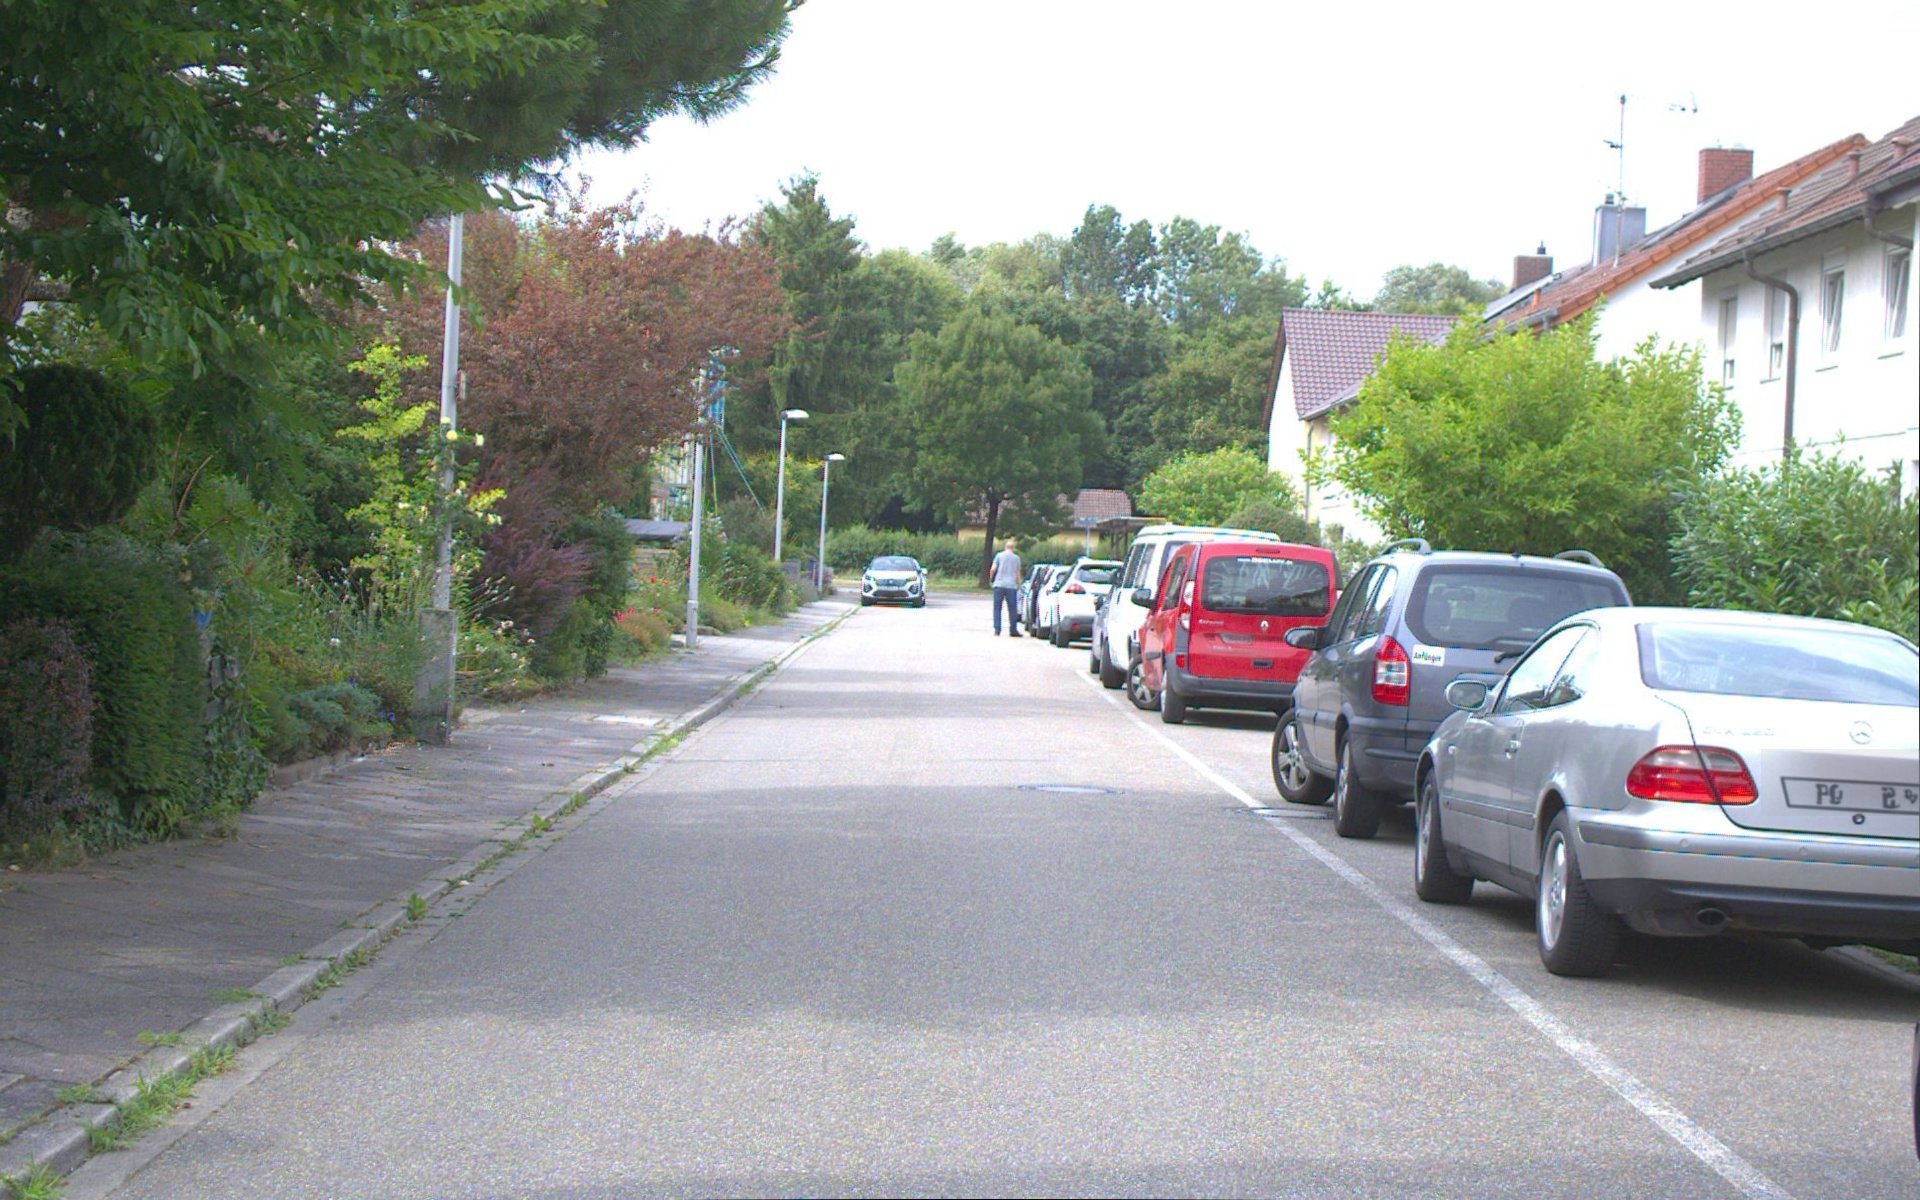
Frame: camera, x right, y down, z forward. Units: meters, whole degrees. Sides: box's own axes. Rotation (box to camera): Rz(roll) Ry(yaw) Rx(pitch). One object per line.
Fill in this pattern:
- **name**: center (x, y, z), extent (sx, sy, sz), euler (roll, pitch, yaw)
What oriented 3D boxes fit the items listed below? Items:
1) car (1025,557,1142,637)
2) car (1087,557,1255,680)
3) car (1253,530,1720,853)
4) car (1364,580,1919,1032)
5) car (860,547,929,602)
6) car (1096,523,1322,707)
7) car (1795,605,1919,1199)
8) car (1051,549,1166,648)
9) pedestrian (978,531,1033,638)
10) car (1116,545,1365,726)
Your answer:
- **car**: center (2.369, -0.086, 66.898), extent (1.838, 1.408, 4.637), euler (2, 1, -3)
- **car**: center (2.698, 0.209, 44.798), extent (1.900, 1.454, 4.129), euler (2, 1, 0)
- **car**: center (2.992, 0.449, 20.523), extent (1.867, 1.648, 4.465), euler (2, 1, -2)
- **car**: center (3.017, 0.714, 14.085), extent (1.867, 1.402, 4.768), euler (4, 1, -3)
- **car**: center (-1.952, -0.791, 104.164), extent (1.934, 1.551, 4.634), euler (2, 1, 0)
- **car**: center (2.799, 0.120, 39.692), extent (2.020, 1.940, 4.748), euler (2, 1, -2)
- **car**: center (2.990, 0.797, 6.218), extent (1.732, 1.423, 4.126), euler (2, 1, -3)
- **car**: center (2.535, -0.060, 59.411), extent (1.714, 1.538, 3.974), euler (4, 1, 0)
- **pedestrian**: center (0.871, -0.305, 66.280), extent (0.912, 2.007, 0.951), euler (2, 1, -4)
- **car**: center (2.753, 0.303, 34.694), extent (1.810, 1.645, 4.411), euler (2, 1, -4)
